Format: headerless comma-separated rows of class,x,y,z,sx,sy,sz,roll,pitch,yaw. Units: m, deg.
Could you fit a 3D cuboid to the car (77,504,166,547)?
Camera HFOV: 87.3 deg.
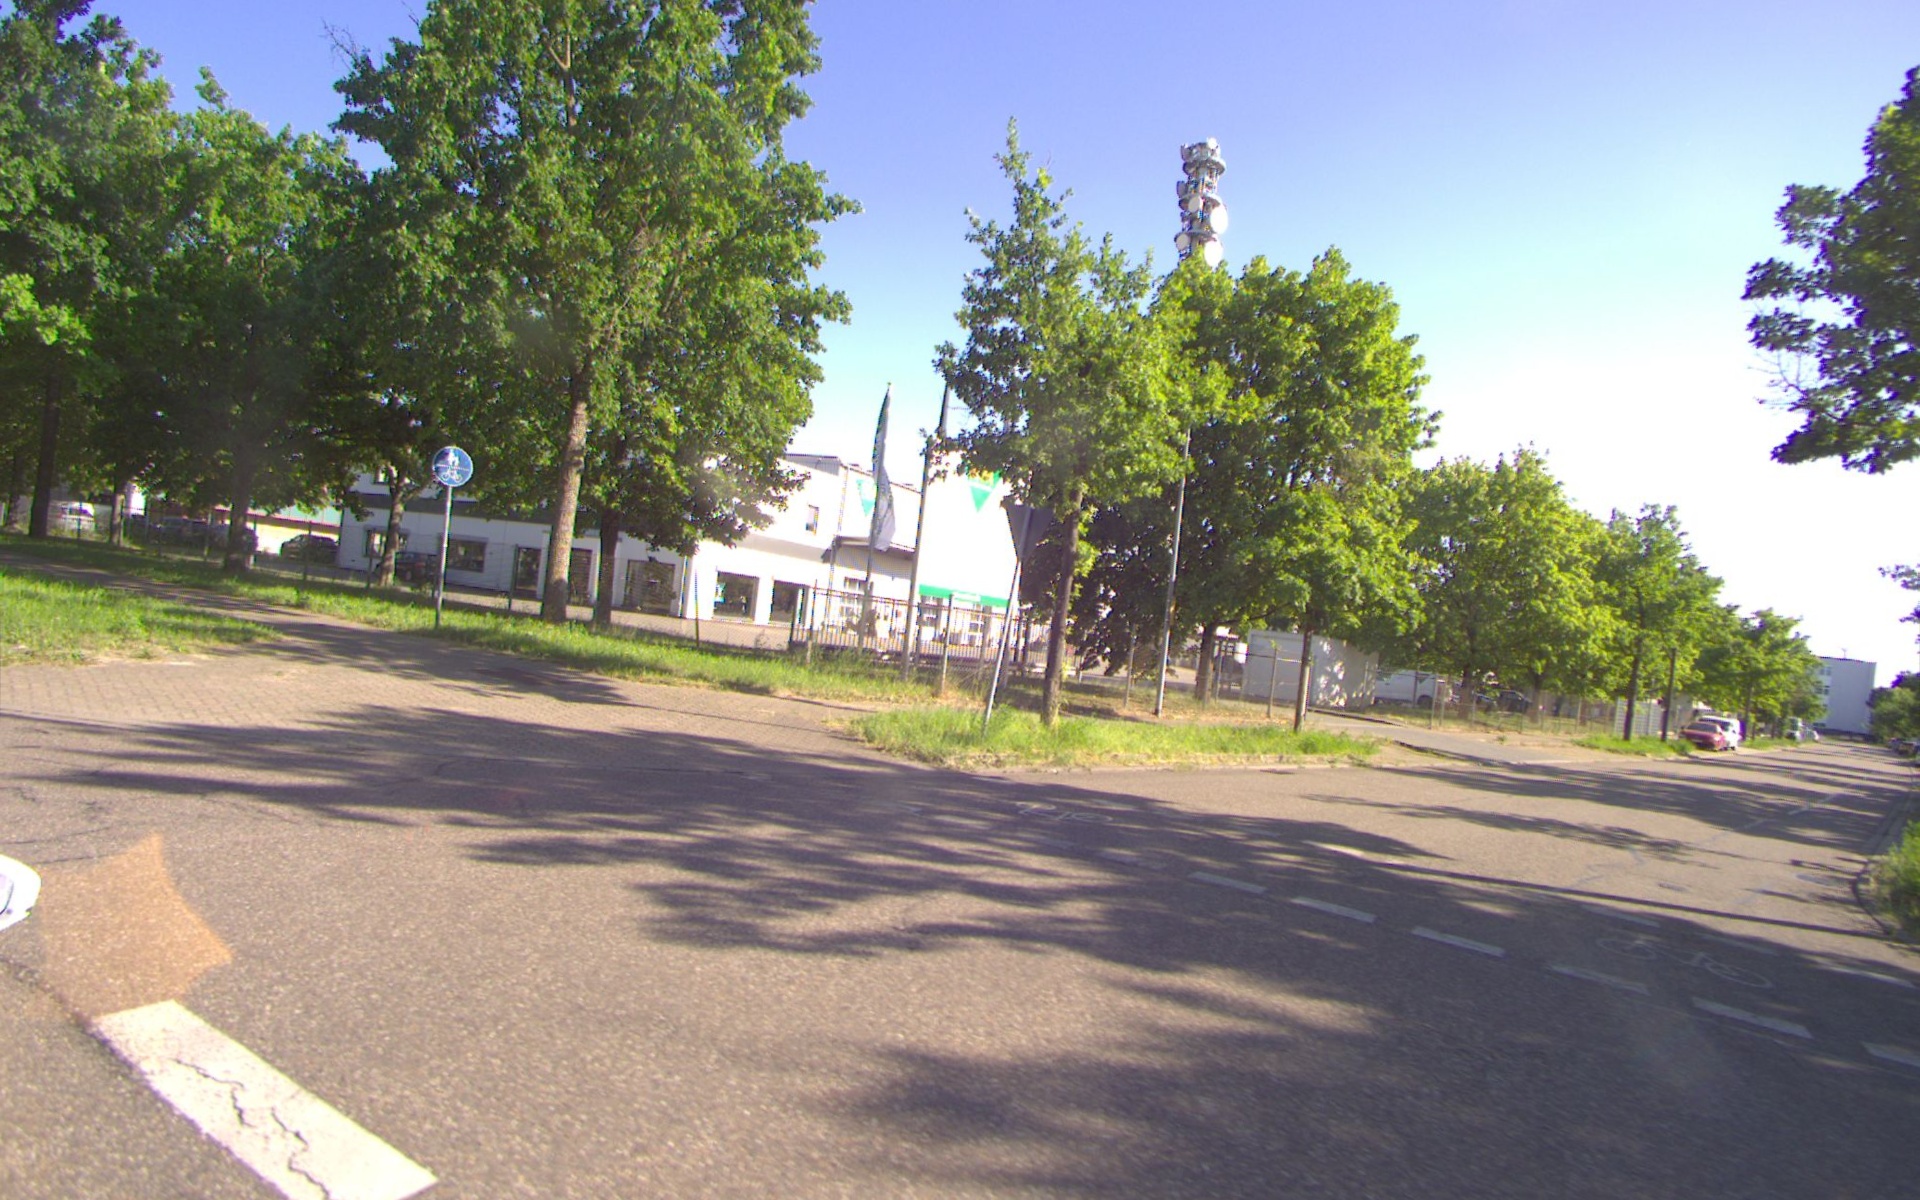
car,-47.321,-4.203,56.754,4.561,1.765,2.189,7,-1,28

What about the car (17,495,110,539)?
car,-48.586,-4.496,54.504,4.561,1.765,2.189,7,-1,28

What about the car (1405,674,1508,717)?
car,27.842,5.342,56.520,1.987,1.699,4.680,8,-1,-42

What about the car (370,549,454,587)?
car,-27.062,-1.576,49.660,3.702,1.400,1.769,7,-1,28

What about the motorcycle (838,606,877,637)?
motorcycle,-5.536,1.187,54.173,1.980,1.450,0.649,8,-1,-45

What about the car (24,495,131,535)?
car,-57.496,-5.516,65.644,2.152,1.765,4.641,7,-1,23

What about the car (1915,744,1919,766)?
car,69.701,11.209,71.963,1.916,1.497,4.492,6,-2,44

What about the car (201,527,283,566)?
car,-44.219,-3.280,61.930,4.561,1.765,2.189,7,-1,28

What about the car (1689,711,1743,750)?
car,44.064,7.607,58.554,1.972,1.859,5.434,6,-1,41

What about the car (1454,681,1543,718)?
car,35.668,6.578,66.675,1.987,1.699,4.680,8,-1,-42

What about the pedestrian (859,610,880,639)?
pedestrian,-4.863,1.326,54.068,0.707,1.450,0.748,7,0,29

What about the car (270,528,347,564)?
car,-42.725,-3.564,65.957,4.561,1.765,2.189,7,-1,28

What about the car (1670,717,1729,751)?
car,40.112,7.281,54.511,1.916,1.497,4.492,6,-2,44

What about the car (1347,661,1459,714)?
car,22.517,4.430,51.239,4.674,2.010,1.989,6,-1,45
